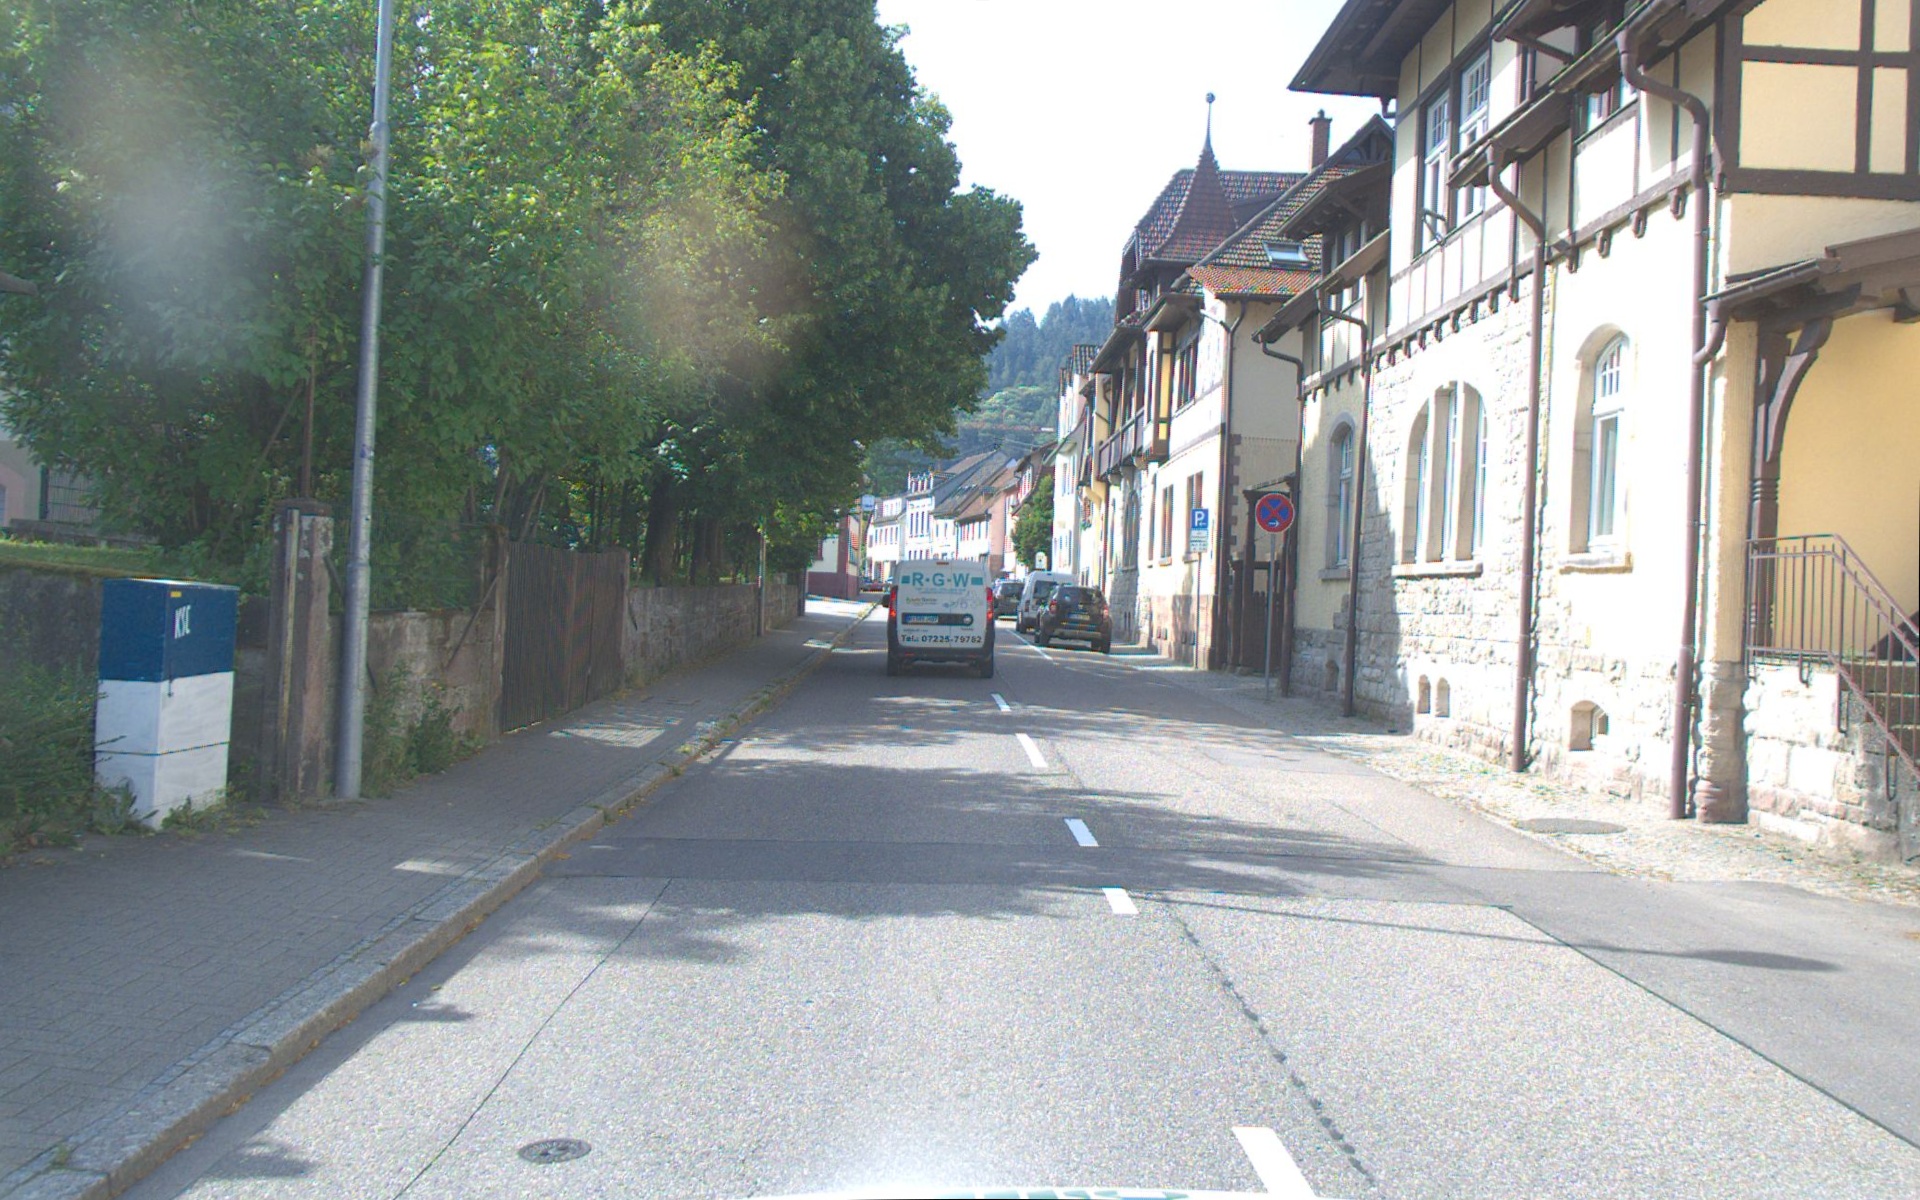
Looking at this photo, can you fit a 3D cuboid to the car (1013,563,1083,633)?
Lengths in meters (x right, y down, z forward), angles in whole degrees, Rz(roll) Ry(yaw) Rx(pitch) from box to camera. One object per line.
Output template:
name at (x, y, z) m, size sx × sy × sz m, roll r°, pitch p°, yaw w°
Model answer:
car at (2.773, -0.083, 53.138) m, size 1.834 × 2.048 × 3.999 m, roll 3°, pitch 0°, yaw -2°

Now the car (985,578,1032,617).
car at (2.012, -0.105, 69.503) m, size 1.636 × 1.534 × 3.998 m, roll 2°, pitch 0°, yaw -3°

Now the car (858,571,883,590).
car at (-8.759, -1.920, 162.123) m, size 1.741 × 1.830 × 3.988 m, roll 3°, pitch 0°, yaw -12°

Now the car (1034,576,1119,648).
car at (2.969, 0.274, 42.883) m, size 1.774 × 1.624 × 3.926 m, roll 5°, pitch 1°, yaw -1°

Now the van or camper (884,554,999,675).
van or camper at (-0.368, 0.181, 27.973) m, size 1.791 × 1.876 × 4.187 m, roll 0°, pitch 1°, yaw -2°

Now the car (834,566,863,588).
car at (-10.626, -2.178, 157.496) m, size 1.960 × 1.813 × 3.987 m, roll 5°, pitch 1°, yaw -14°
